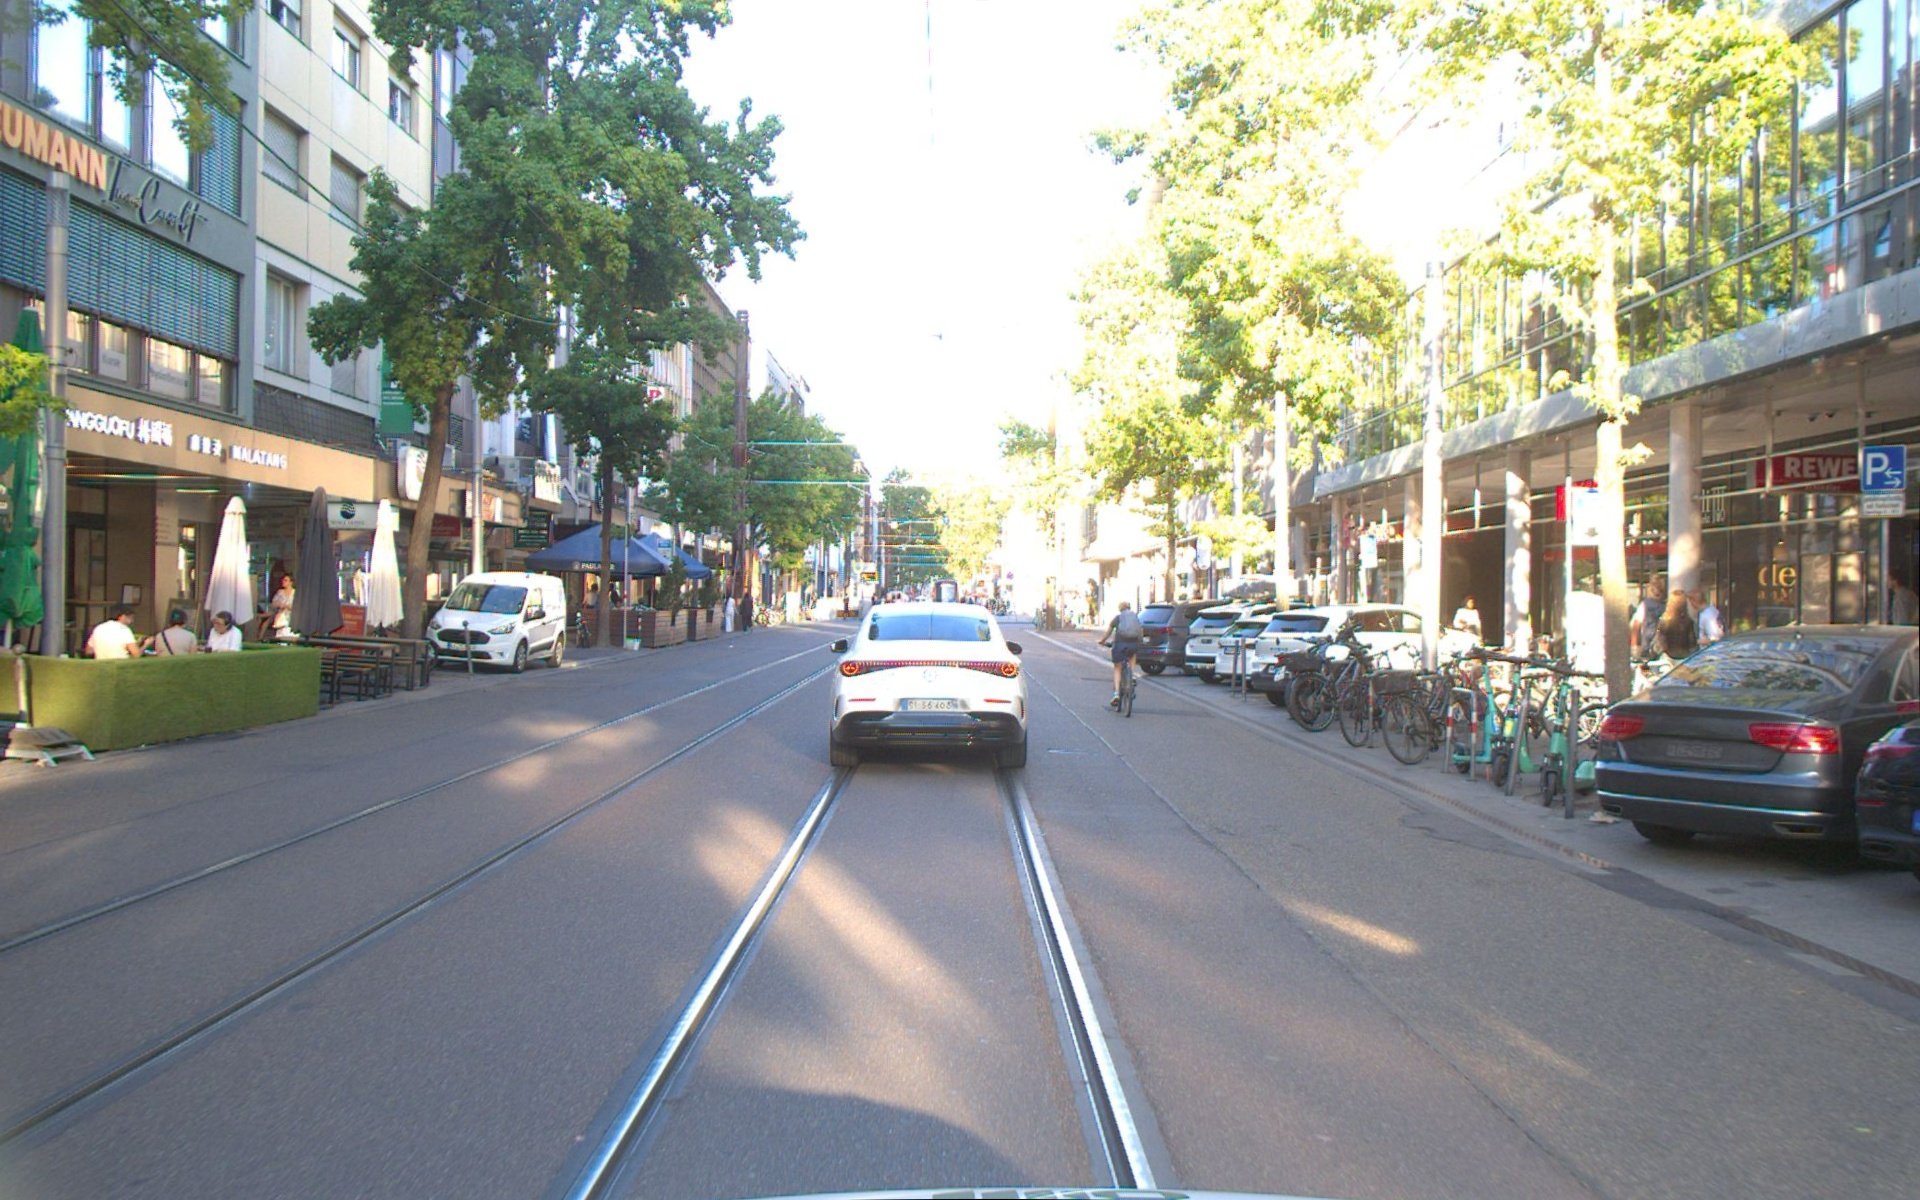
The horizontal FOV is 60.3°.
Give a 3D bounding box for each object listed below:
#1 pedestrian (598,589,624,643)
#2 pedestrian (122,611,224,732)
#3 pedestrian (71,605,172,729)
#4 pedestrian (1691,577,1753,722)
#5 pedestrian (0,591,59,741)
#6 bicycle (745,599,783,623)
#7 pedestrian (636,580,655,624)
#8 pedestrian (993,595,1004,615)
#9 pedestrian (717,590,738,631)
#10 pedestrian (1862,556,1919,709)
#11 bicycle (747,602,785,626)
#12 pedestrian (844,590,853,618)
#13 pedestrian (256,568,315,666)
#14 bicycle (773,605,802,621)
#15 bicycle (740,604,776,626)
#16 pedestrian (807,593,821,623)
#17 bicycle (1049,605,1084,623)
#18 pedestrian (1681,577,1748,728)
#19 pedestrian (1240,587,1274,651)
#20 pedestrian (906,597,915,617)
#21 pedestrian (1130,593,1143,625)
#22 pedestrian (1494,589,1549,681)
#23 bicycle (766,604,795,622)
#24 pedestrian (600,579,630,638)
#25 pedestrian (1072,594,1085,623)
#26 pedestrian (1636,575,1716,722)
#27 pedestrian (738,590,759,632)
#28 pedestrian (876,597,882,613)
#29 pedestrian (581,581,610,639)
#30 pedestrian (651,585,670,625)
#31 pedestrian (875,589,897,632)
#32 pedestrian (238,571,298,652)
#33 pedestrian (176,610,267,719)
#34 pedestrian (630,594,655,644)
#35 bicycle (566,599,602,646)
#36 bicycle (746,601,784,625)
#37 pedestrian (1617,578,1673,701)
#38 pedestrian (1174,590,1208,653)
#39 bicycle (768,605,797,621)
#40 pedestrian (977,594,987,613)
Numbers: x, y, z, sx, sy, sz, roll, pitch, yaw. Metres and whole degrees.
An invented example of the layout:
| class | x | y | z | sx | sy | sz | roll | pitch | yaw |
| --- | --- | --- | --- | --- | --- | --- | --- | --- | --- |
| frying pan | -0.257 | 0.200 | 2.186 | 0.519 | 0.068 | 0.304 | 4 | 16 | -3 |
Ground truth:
| class | x | y | z | sx | sy | sz | roll | pitch | yaw |
| --- | --- | --- | --- | --- | --- | --- | --- | --- | --- |
| pedestrian | -9.638 | 0.444 | 45.680 | 0.538 | 1.454 | 0.582 | 2 | 0 | -1 |
| pedestrian | -8.720 | 0.781 | 18.359 | 0.643 | 1.266 | 0.872 | 4 | 0 | -1 |
| pedestrian | -9.389 | 0.739 | 18.541 | 0.643 | 1.315 | 0.798 | 4 | 0 | -1 |
| pedestrian | 9.240 | 0.586 | 20.070 | 0.506 | 1.726 | 0.550 | 1 | 0 | 4 |
| pedestrian | -9.251 | 0.606 | 15.797 | 0.739 | 1.367 | 0.872 | 4 | 0 | -1 |
| bicycle | -9.894 | 0.565 | 83.456 | 1.808 | 1.160 | 0.377 | 2 | 0 | 1 |
| pedestrian | -12.688 | 0.080 | 66.695 | 0.585 | 1.775 | 0.671 | 2 | 0 | 0 |
| pedestrian | 3.614 | 0.488 | 154.483 | 0.941 | 1.817 | 0.803 | -1 | 0 | -1 |
| pedestrian | -8.929 | 0.390 | 63.498 | 0.609 | 1.535 | 0.833 | 3 | 0 | 0 |
| pedestrian | 12.280 | 0.413 | 21.606 | 0.571 | 1.952 | 0.663 | -2 | 0 | 1 |
| bicycle | -9.361 | 0.654 | 79.693 | 1.754 | 1.096 | 0.377 | 2 | 0 | -5 |
| pedestrian | -7.992 | 0.278 | 118.564 | 0.560 | 1.963 | 0.540 | 0 | 0 | -5 |
| pedestrian | -11.447 | 0.285 | 28.091 | 0.634 | 1.601 | 0.700 | 3 | 0 | -1 |
| bicycle | -9.225 | 0.693 | 88.396 | 1.462 | 0.797 | 0.344 | 2 | 0 | 1 |
| bicycle | -9.321 | 0.701 | 76.449 | 1.562 | 0.947 | 0.377 | 2 | 0 | 6 |
| pedestrian | -8.940 | 0.476 | 101.272 | 0.771 | 1.832 | 0.844 | 1 | 0 | 0 |
| bicycle | 6.395 | 0.841 | 99.321 | 2.077 | 1.115 | 0.608 | 0 | 0 | -14 |
| pedestrian | 9.097 | 0.619 | 19.955 | 0.512 | 1.781 | 0.559 | -2 | 0 | 1 |
| pedestrian | 8.247 | 0.521 | 45.928 | 0.677 | 1.761 | 0.629 | -2 | 0 | 42 |
| pedestrian | -4.451 | 0.625 | 148.646 | 0.784 | 1.813 | 0.848 | 2 | 0 | -2 |
| pedestrian | 9.295 | 0.479 | 87.046 | 0.624 | 1.682 | 0.781 | 1 | 0 | 1 |
| pedestrian | 10.254 | 0.623 | 30.244 | 0.699 | 1.652 | 0.882 | -1 | 0 | 1 |
| bicycle | -9.426 | 0.680 | 87.070 | 1.462 | 0.855 | 0.344 | 2 | 0 | 1 |
| pedestrian | -10.358 | 0.255 | 49.650 | 0.703 | 1.755 | 0.675 | 2 | 0 | -2 |
| pedestrian | 7.565 | 0.537 | 105.666 | 0.687 | 1.844 | 1.033 | -3 | 0 | -1 |
| pedestrian | 8.542 | 0.571 | 19.746 | 0.667 | 1.726 | 0.548 | 1 | 0 | -13 |
| pedestrian | -8.148 | 0.423 | 63.773 | 0.609 | 1.577 | 0.852 | 3 | 0 | 0 |
| pedestrian | -7.937 | 0.500 | 162.068 | 0.646 | 1.627 | 0.573 | 0 | 0 | -2 |
| pedestrian | -10.539 | 0.287 | 47.833 | 0.659 | 1.635 | 0.719 | 2 | 0 | -1 |
| pedestrian | -12.095 | 0.192 | 66.727 | 0.585 | 1.559 | 0.671 | 2 | 0 | 0 |
| pedestrian | -3.217 | 0.442 | 71.825 | 0.824 | 1.832 | 0.790 | 2 | 0 | 0 |
| pedestrian | -13.281 | 0.217 | 31.750 | 0.754 | 1.492 | 0.764 | 4 | 0 | -3 |
| pedestrian | -8.676 | 0.743 | 19.458 | 0.643 | 1.214 | 0.798 | 4 | 0 | -1 |
| pedestrian | -8.760 | 0.520 | 45.639 | 0.538 | 1.380 | 0.582 | 2 | 0 | -1 |
| bicycle | -9.901 | 0.578 | 43.521 | 0.687 | 1.140 | 2.076 | 3 | 0 | -18 |
| bicycle | -9.328 | 0.623 | 79.238 | 1.754 | 1.096 | 0.377 | 2 | 0 | -5 |
| pedestrian | 10.102 | 0.580 | 24.402 | 0.545 | 1.781 | 0.525 | -2 | 0 | 0 |
| pedestrian | 6.420 | 0.606 | 45.995 | 0.667 | 1.715 | 0.694 | -2 | 0 | 33 |
| bicycle | -9.398 | 0.685 | 87.743 | 1.462 | 0.797 | 0.344 | 2 | 0 | 1 |
| pedestrian | 2.059 | 0.316 | 154.253 | 0.941 | 1.817 | 0.803 | -1 | 0 | -1 |
